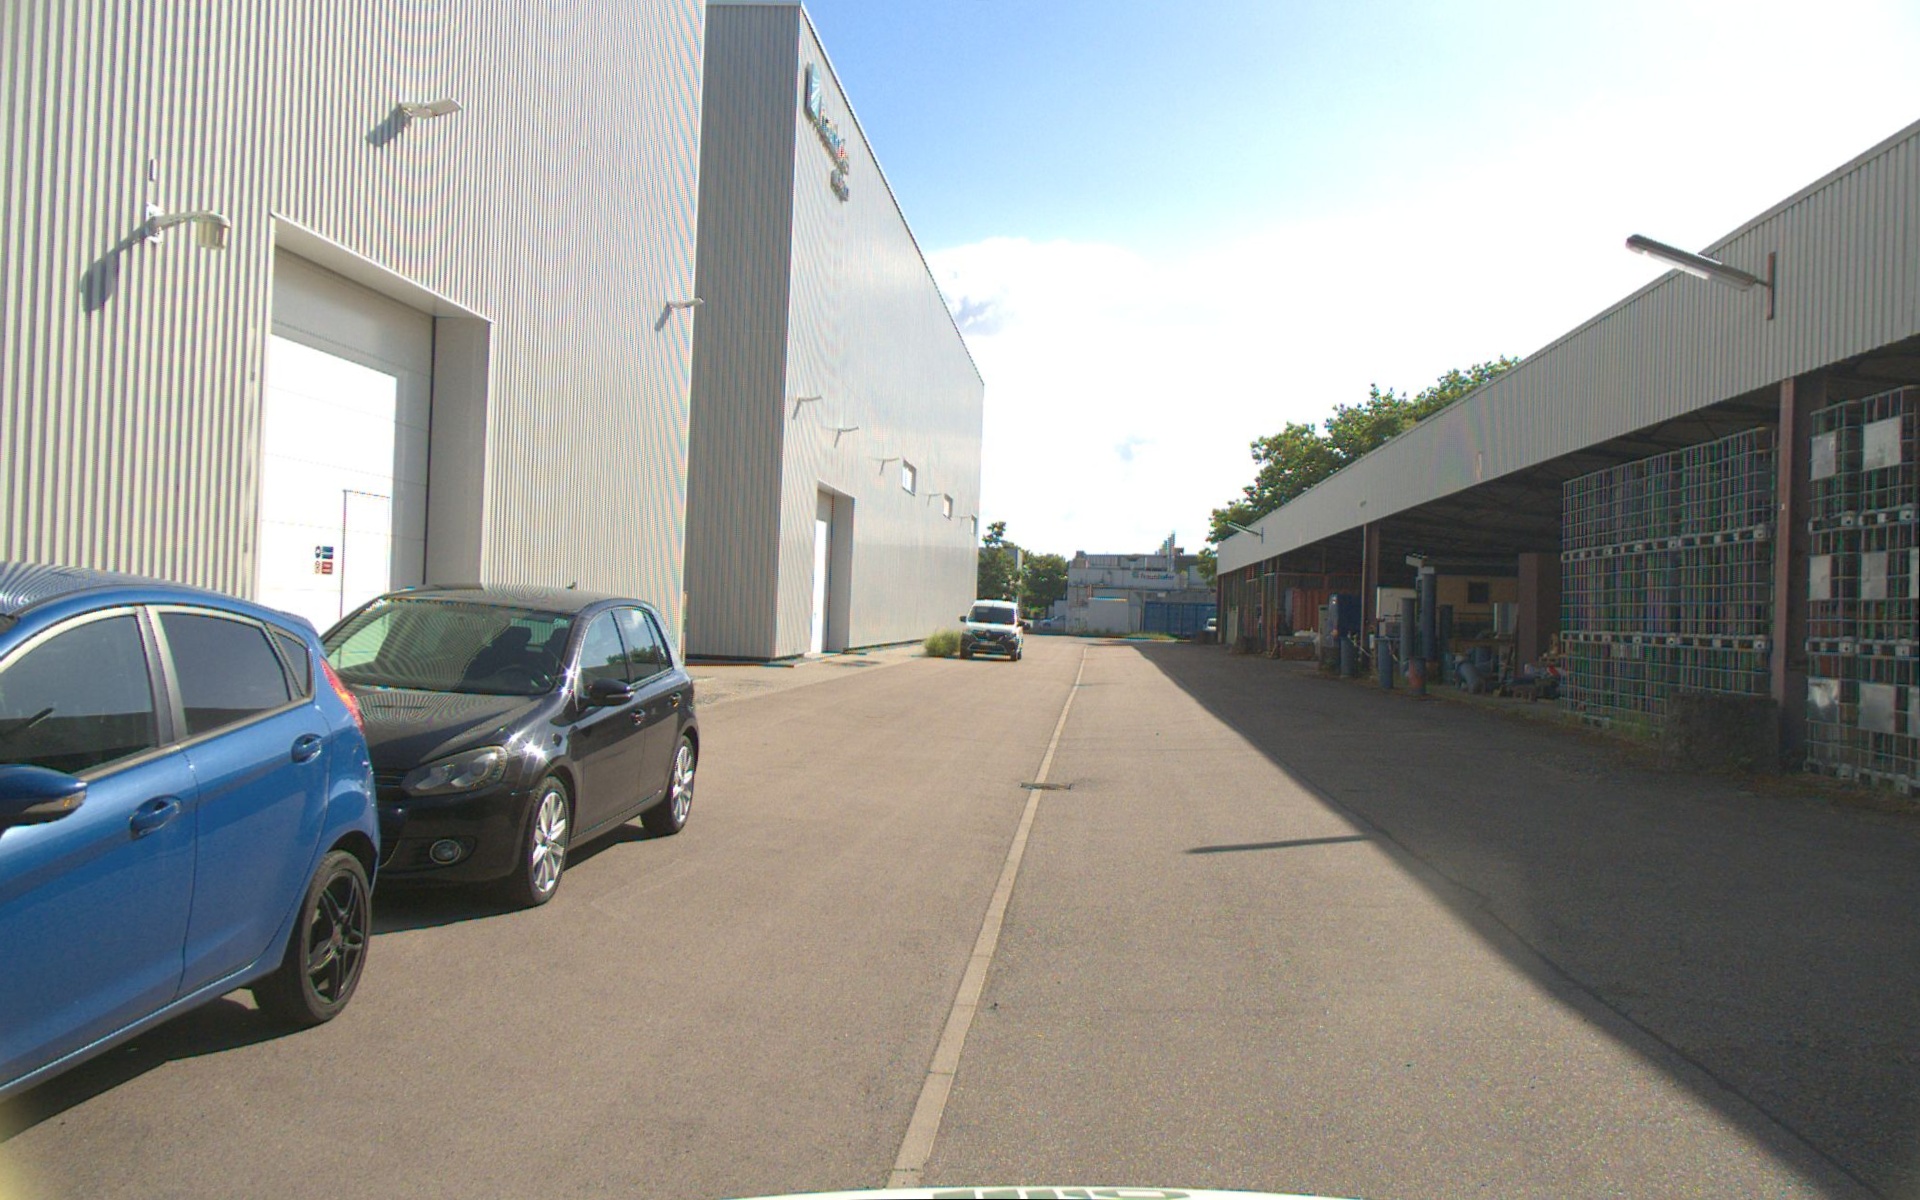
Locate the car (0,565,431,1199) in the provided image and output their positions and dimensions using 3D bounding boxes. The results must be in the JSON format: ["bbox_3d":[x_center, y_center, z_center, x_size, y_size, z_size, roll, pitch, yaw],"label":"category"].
[{"bbox_3d":[-2.879,0.640,4.235,1.586,1.472,3.766,3,0,3],"label":"car"}]

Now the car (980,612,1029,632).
[{"bbox_3d":[3.622,1.791,133.918,3.803,1.487,1.624,2,-1,4],"label":"car"}]

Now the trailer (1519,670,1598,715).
[{"bbox_3d":[9.429,1.455,26.100,0.951,0.577,0.733,4,1,0],"label":"trailer"}]

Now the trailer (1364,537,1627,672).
[{"bbox_3d":[14.425,0.113,44.952,6.254,3.429,2.826,1,-1,4],"label":"trailer"}]

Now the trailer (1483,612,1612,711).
[{"bbox_3d":[10.362,1.058,29.268,1.514,1.545,1.913,4,1,0],"label":"trailer"}]

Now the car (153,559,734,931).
[{"bbox_3d":[-2.536,0.654,9.177,1.616,1.471,3.880,5,0,5],"label":"car"}]

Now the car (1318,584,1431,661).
[{"bbox_3d":[14.040,0.751,56.155,3.431,2.484,2.001,1,-1,5],"label":"car"}]

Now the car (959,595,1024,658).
[{"bbox_3d":[1.032,0.826,51.842,1.868,1.825,4.001,2,-1,3],"label":"car"}]

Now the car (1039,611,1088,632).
[{"bbox_3d":[8.278,1.737,132.580,3.802,1.487,1.624,2,-1,7],"label":"car"}]
